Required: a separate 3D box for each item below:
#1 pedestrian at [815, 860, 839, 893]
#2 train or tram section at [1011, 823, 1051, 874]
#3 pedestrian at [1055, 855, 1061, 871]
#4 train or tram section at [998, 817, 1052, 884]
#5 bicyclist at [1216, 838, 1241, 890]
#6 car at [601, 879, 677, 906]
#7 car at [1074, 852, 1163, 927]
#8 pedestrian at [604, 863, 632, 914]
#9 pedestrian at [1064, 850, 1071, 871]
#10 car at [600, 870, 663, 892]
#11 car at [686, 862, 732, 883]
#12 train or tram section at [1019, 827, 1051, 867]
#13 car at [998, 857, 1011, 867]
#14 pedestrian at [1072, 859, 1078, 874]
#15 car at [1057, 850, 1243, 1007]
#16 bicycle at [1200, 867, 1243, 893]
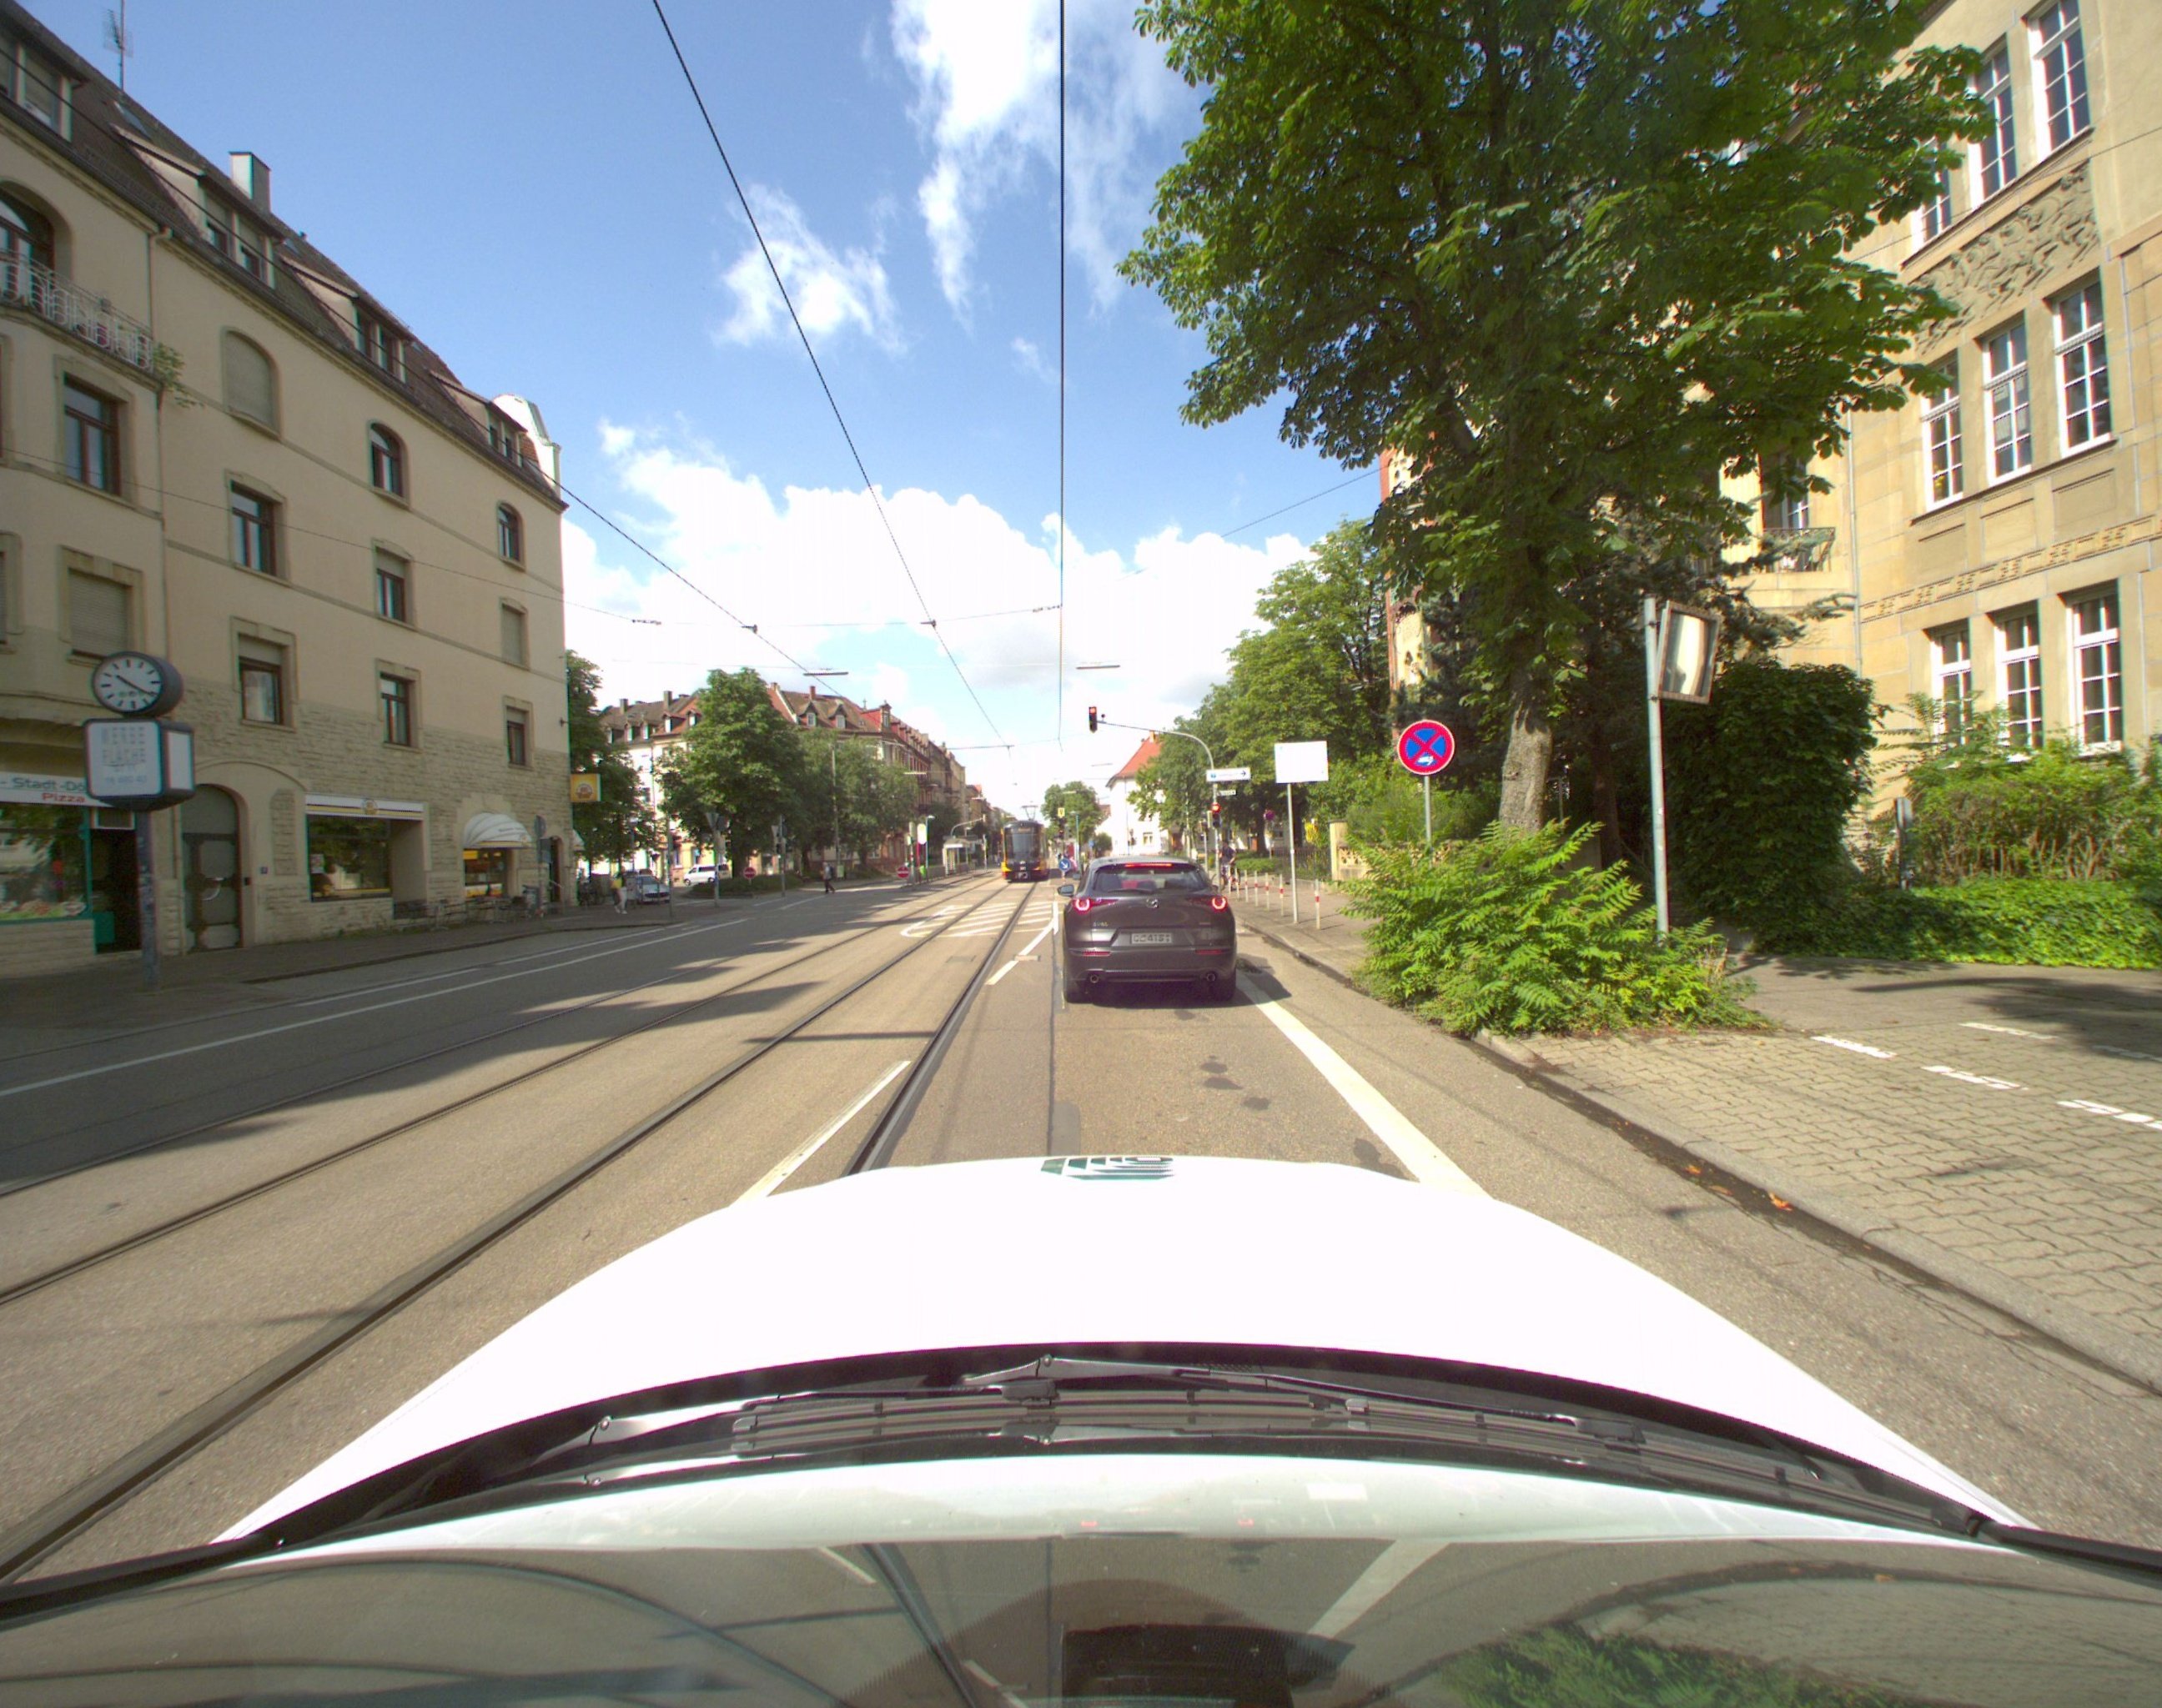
[{"bbox_3d":[-13.297,1.182,42.636,0.813,1.705,0.723,-2,0,27],"label":"pedestrian"},{"bbox_3d":[-3.848,-0.511,65.725,2.746,3.490,14.396,-3,1,-2],"label":"train or tram section"},{"bbox_3d":[-1.577,0.616,56.514,0.379,1.071,0.474,-2,0,-3],"label":"pedestrian"},{"bbox_3d":[-3.311,-0.300,51.318,2.746,3.490,14.396,-3,1,-2],"label":"train or tram section"},{"bbox_3d":[5.170,0.343,28.546,0.608,1.793,0.656,-2,0,-8],"label":"bicyclist"},{"bbox_3d":[-21.843,1.891,40.210,3.948,1.182,1.689,-2,0,35],"label":"car"},{"bbox_3d":[0.810,0.713,18.451,1.772,1.499,4.001,0,0,1],"label":"car"},{"bbox_3d":[-16.312,1.205,28.708,0.685,1.754,0.796,-2,0,-20],"label":"pedestrian"},{"bbox_3d":[-0.927,0.460,56.322,0.449,1.434,0.474,-2,0,-3],"label":"pedestrian"},{"bbox_3d":[-37.305,2.199,67.664,3.972,1.596,2.001,-3,0,2],"label":"car"},{"bbox_3d":[-36.723,1.811,80.440,3.950,1.903,2.012,-2,0,26],"label":"car"},{"bbox_3d":[-4.398,-0.760,80.084,2.746,3.490,14.396,-3,1,-2],"label":"train or tram section"},{"bbox_3d":[-11.369,1.132,120.469,1.610,1.310,3.625,-2,0,-2],"label":"car"},{"bbox_3d":[-0.409,0.869,56.482,0.379,0.984,0.474,-2,0,-3],"label":"pedestrian"},{"bbox_3d":[0.715,0.712,9.840,1.772,1.499,4.001,0,0,1],"label":"car"},{"bbox_3d":[4.981,0.926,28.902,1.708,0.824,0.488,-2,0,-40],"label":"bicycle"}]
